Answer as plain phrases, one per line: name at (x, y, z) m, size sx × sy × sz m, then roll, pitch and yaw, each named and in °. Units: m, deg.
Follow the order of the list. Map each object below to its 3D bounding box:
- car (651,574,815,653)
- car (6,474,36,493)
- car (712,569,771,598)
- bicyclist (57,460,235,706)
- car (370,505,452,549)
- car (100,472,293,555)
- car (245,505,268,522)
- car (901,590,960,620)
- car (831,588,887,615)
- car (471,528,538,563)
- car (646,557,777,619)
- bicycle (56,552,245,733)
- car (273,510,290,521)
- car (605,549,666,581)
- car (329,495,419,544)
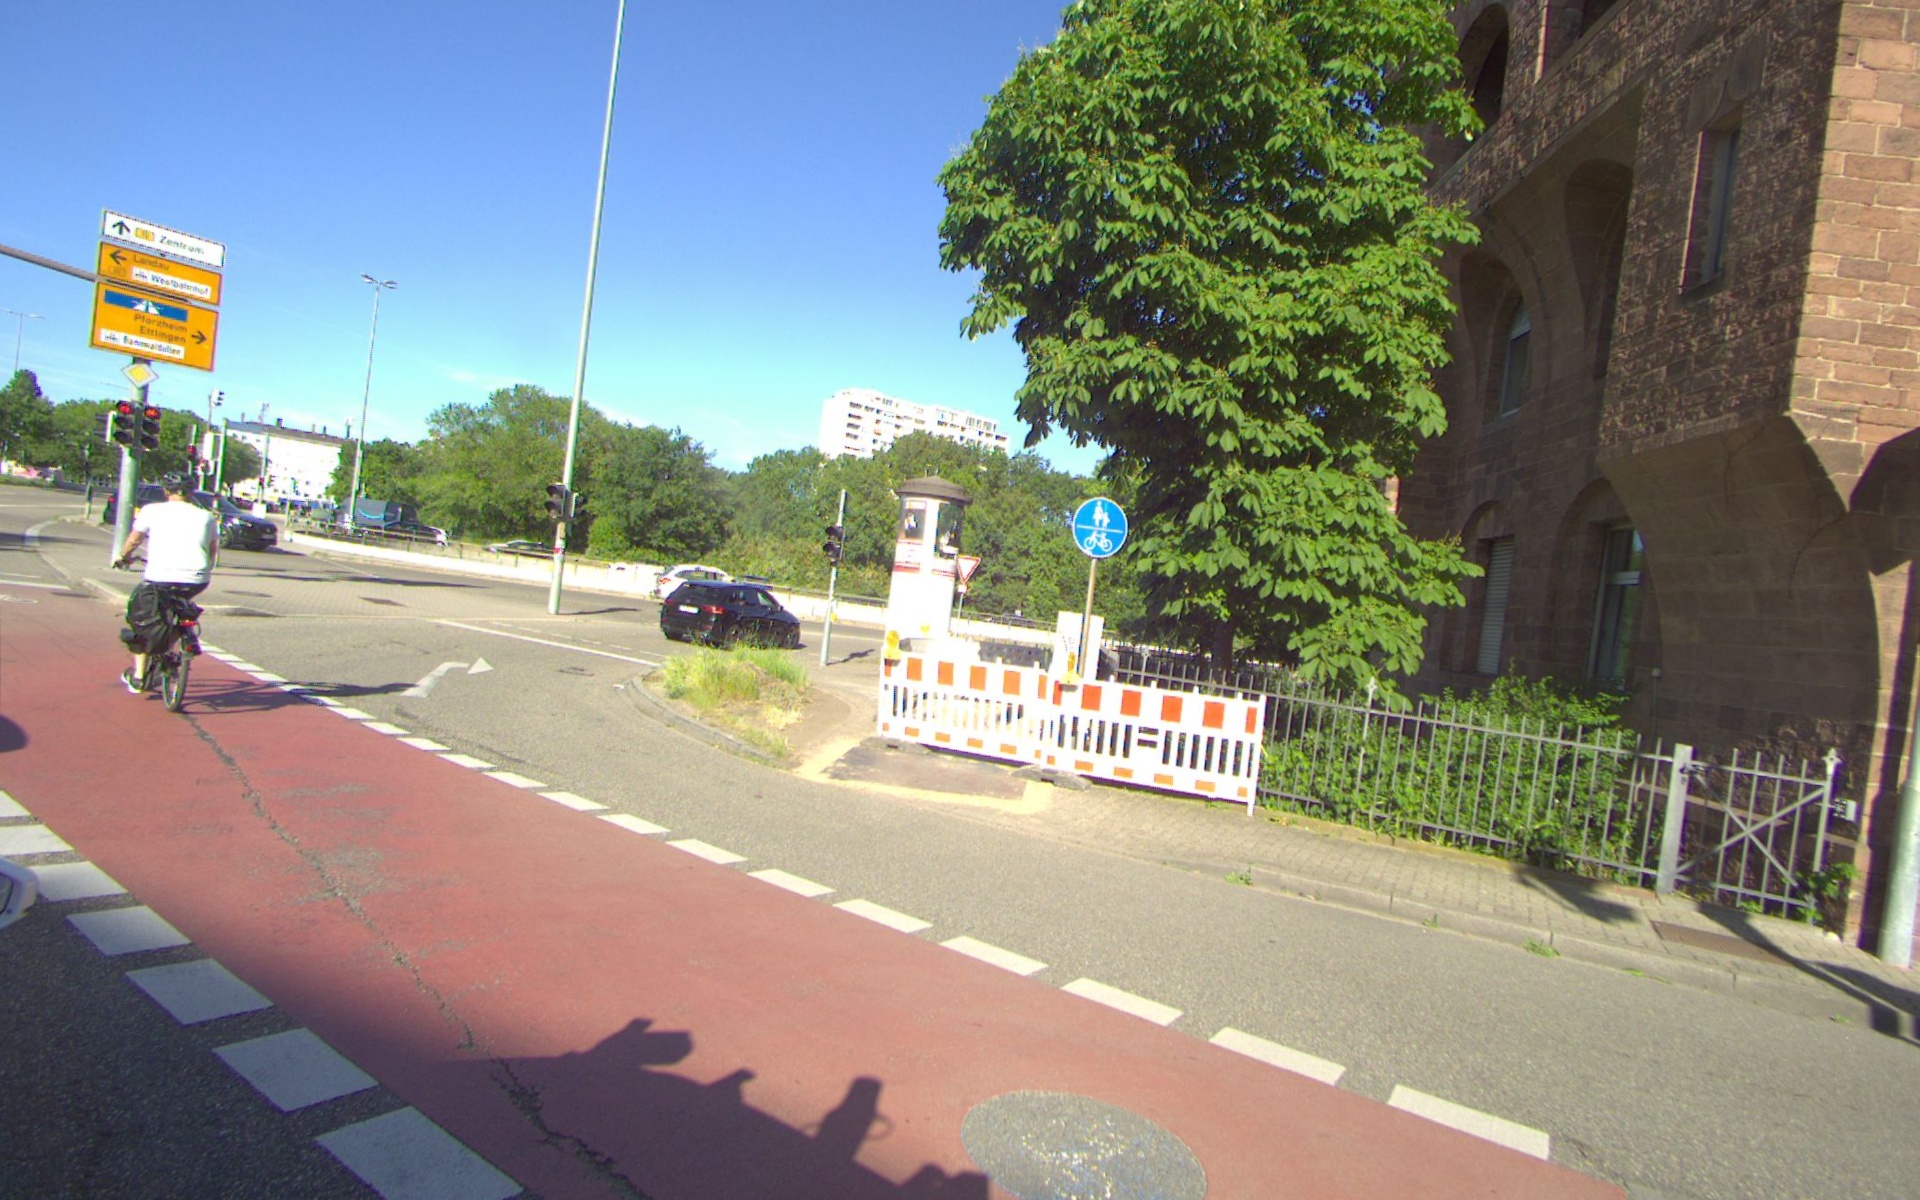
car at (-5.424, 0.386, 24.526) m, size 1.725 × 1.512 × 3.998 m, roll 10°, pitch 1°, yaw 23°
car at (-127.415, -15.765, 136.578) m, size 1.998 × 1.876 × 4.397 m, roll 7°, pitch -2°, yaw -31°
car at (-16.437, -1.208, 75.726) m, size 3.945 × 1.681 × 1.992 m, roll 7°, pitch -2°, yaw -21°
bicyclist at (-6.335, -0.130, 7.904) m, size 0.794 × 1.725 × 1.075 m, roll 8°, pitch 0°, yaw -33°
car at (-33.598, -4.426, 61.711) m, size 3.943 × 2.037 × 1.993 m, roll 7°, pitch -2°, yaw -20°
car at (-23.843, -2.664, 31.553) m, size 4.281 × 1.857 × 2.000 m, roll 6°, pitch -2°, yaw -4°
car at (-94.343, -11.591, 134.878) m, size 1.978 × 1.815 × 3.971 m, roll 7°, pitch -2°, yaw -30°
car at (-2.393, 0.440, 81.370) m, size 4.205 × 1.875 × 2.010 m, roll 8°, pitch -3°, yaw -23°
car at (-7.950, 0.155, 79.232) m, size 3.943 × 1.681 × 1.992 m, roll 7°, pitch -2°, yaw -20°
car at (-31.647, -3.758, 70.073) m, size 3.943 × 1.770 × 1.993 m, roll 7°, pitch -2°, yaw -20°
car at (-8.665, -0.423, 35.060) m, size 4.050 × 1.602 × 1.815 m, roll 7°, pitch 1°, yaw -24°
bicycle at (-6.298, 0.268, 7.971) m, size 0.794 × 1.124 × 2.381 m, roll 9°, pitch -1°, yaw -33°
car at (-113.723, -14.164, 168.556) m, size 1.979 × 1.660 × 3.967 m, roll 6°, pitch 1°, yaw -31°
car at (-23.392, -2.487, 72.513) m, size 3.943 × 1.703 × 1.850 m, roll 7°, pitch -2°, yaw -20°
car at (-40.393, -5.524, 69.369) m, size 4.792 × 2.638 × 2.264 m, roll 6°, pitch -1°, yaw 9°
